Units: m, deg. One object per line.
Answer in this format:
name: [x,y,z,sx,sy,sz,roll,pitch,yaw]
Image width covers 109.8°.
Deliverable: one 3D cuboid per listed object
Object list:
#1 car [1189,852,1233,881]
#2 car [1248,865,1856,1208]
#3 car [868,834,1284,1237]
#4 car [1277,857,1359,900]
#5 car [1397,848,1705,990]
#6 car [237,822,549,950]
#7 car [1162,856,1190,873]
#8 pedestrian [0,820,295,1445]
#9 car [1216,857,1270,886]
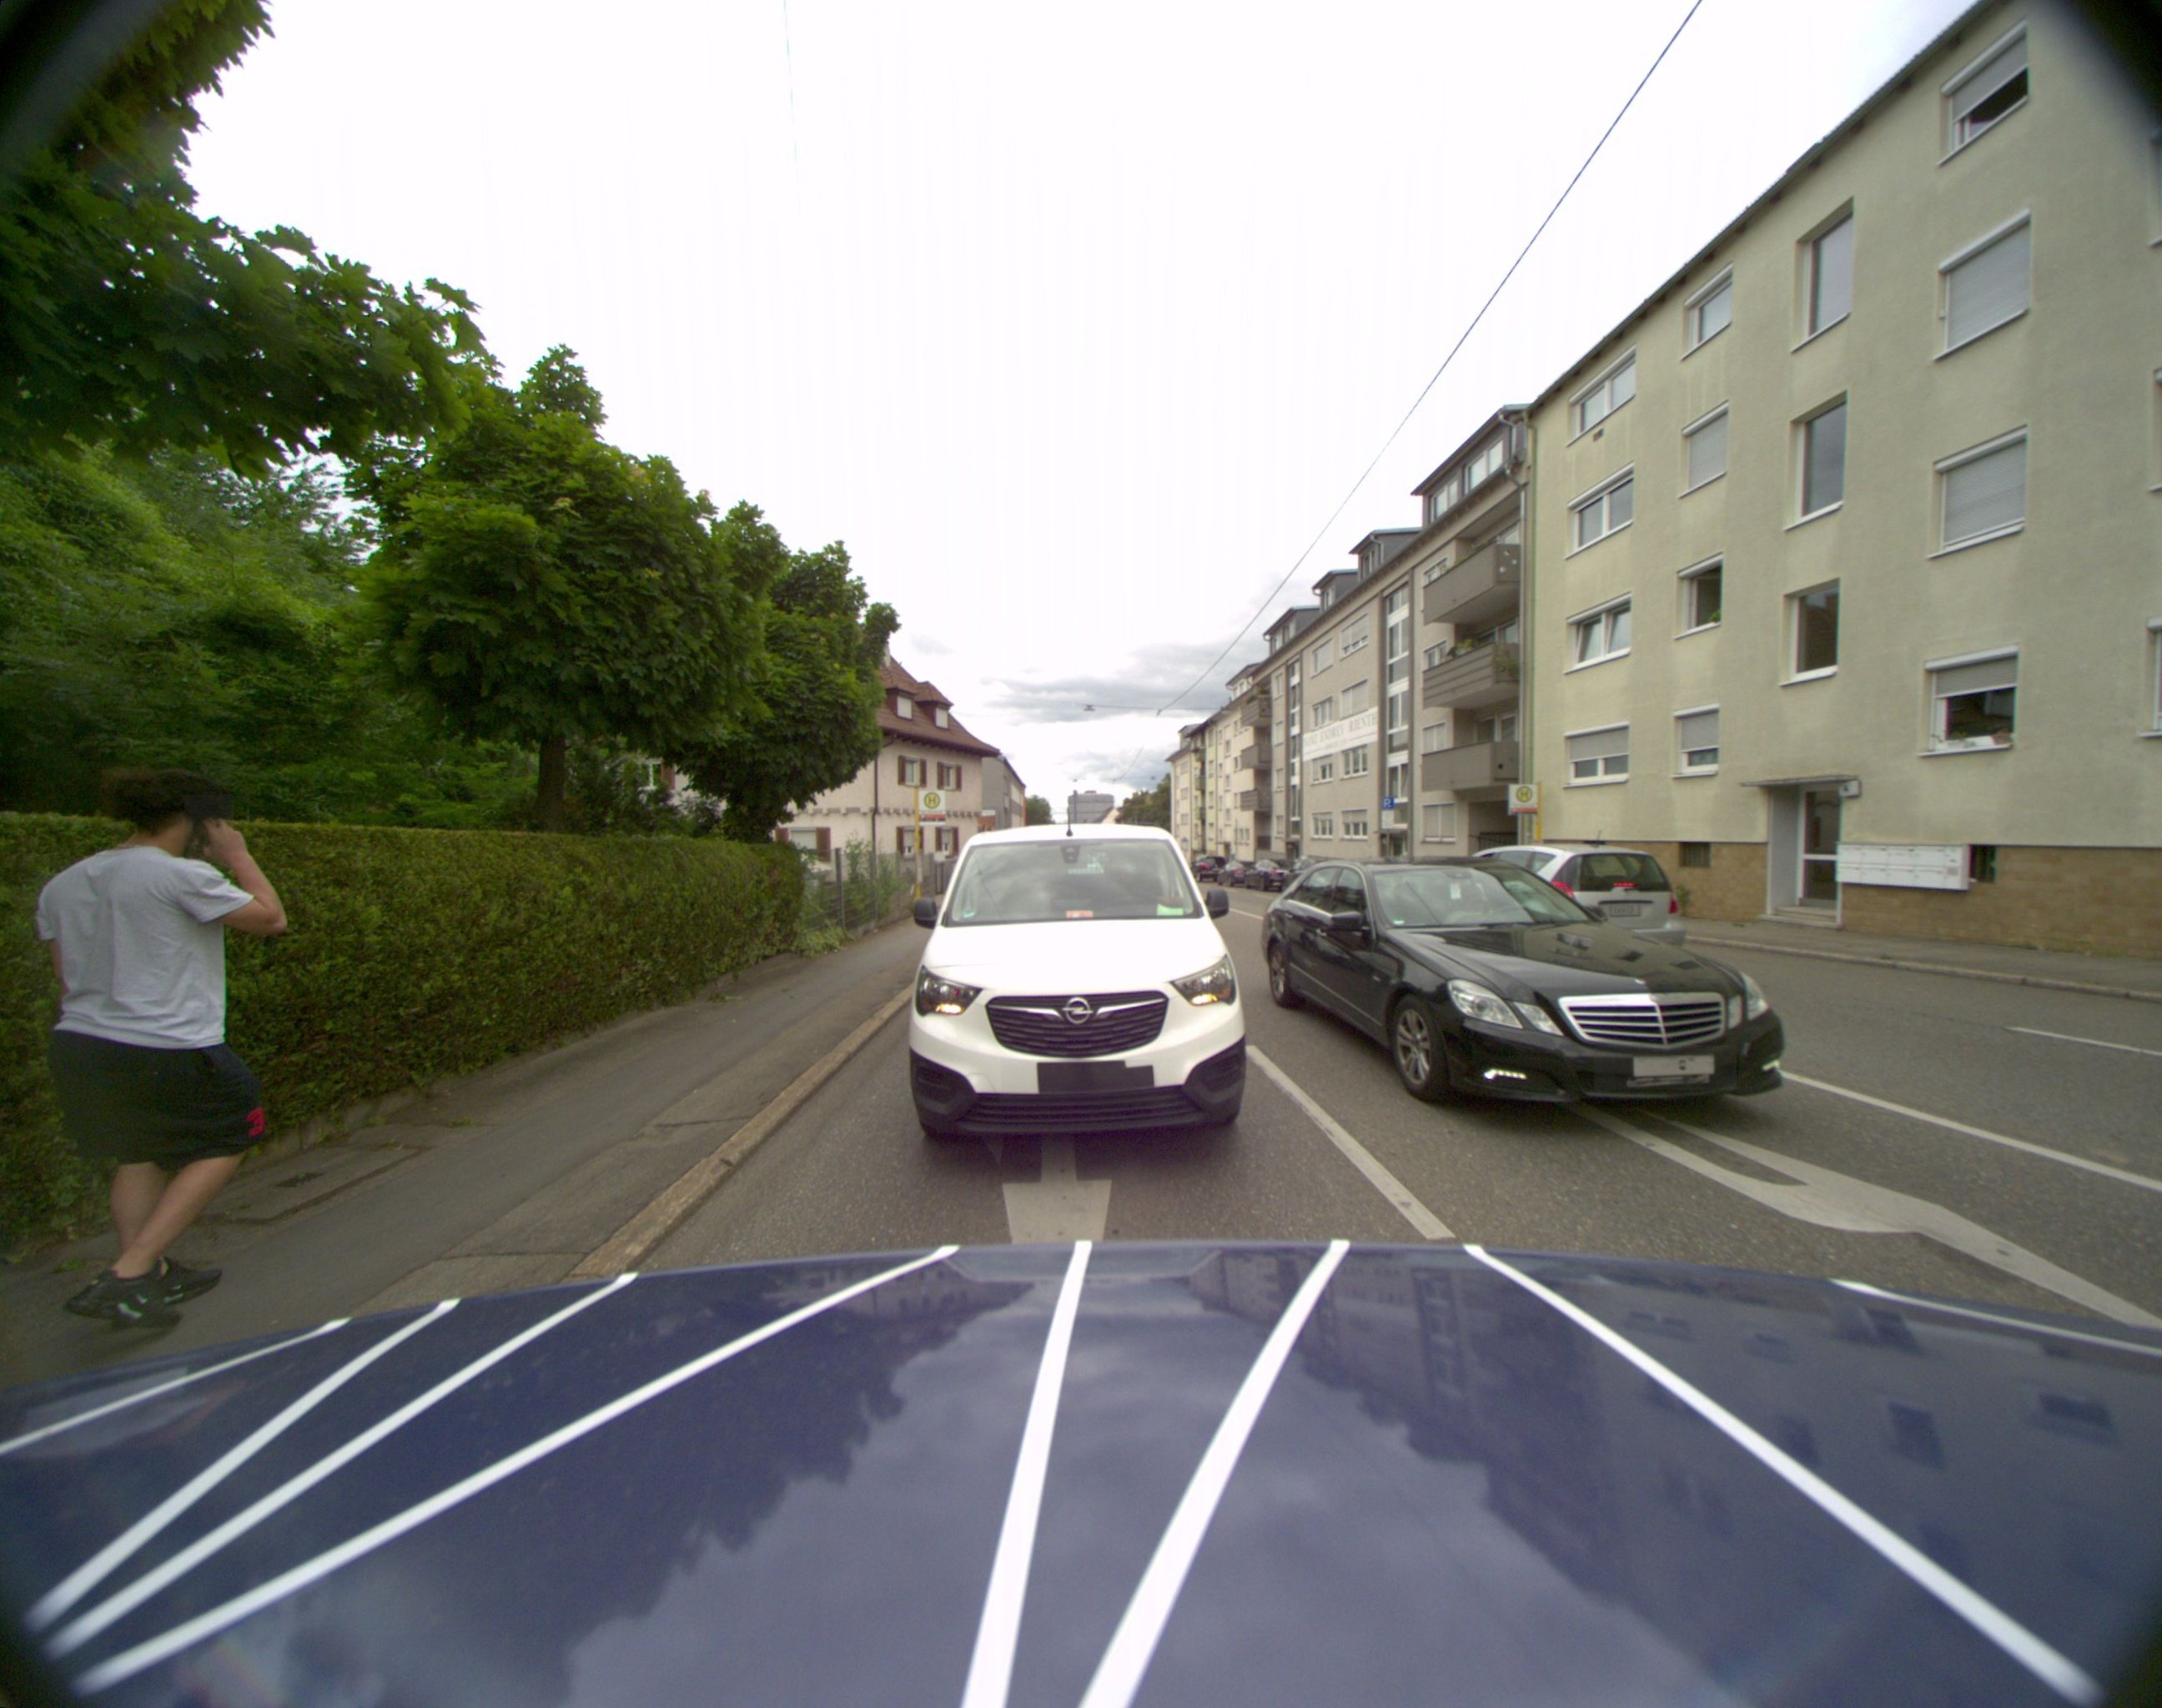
car: [8.333,0.758,49.056,1.875,1.743,4.306,1,1,-2]
car: [2.713,0.882,5.778,1.752,1.446,4.444,-2,1,-2]
car: [-0.077,0.800,5.434,1.803,1.736,3.999,-3,1,-2]
car: [8.892,0.883,28.860,1.773,1.428,3.800,1,0,-2]
car: [6.315,0.734,10.830,1.714,1.608,3.998,-1,1,-4]
car: [-12.546,0.493,14.066,1.994,2.002,4.008,-1,0,40]
car: [8.196,0.912,65.987,1.875,1.372,4.307,2,0,0]
pedestrian: [-3.023,0.771,2.331,0.695,1.728,0.467,2,1,-1]
car: [8.434,0.897,39.946,1.773,1.397,4.306,0,0,-2]
